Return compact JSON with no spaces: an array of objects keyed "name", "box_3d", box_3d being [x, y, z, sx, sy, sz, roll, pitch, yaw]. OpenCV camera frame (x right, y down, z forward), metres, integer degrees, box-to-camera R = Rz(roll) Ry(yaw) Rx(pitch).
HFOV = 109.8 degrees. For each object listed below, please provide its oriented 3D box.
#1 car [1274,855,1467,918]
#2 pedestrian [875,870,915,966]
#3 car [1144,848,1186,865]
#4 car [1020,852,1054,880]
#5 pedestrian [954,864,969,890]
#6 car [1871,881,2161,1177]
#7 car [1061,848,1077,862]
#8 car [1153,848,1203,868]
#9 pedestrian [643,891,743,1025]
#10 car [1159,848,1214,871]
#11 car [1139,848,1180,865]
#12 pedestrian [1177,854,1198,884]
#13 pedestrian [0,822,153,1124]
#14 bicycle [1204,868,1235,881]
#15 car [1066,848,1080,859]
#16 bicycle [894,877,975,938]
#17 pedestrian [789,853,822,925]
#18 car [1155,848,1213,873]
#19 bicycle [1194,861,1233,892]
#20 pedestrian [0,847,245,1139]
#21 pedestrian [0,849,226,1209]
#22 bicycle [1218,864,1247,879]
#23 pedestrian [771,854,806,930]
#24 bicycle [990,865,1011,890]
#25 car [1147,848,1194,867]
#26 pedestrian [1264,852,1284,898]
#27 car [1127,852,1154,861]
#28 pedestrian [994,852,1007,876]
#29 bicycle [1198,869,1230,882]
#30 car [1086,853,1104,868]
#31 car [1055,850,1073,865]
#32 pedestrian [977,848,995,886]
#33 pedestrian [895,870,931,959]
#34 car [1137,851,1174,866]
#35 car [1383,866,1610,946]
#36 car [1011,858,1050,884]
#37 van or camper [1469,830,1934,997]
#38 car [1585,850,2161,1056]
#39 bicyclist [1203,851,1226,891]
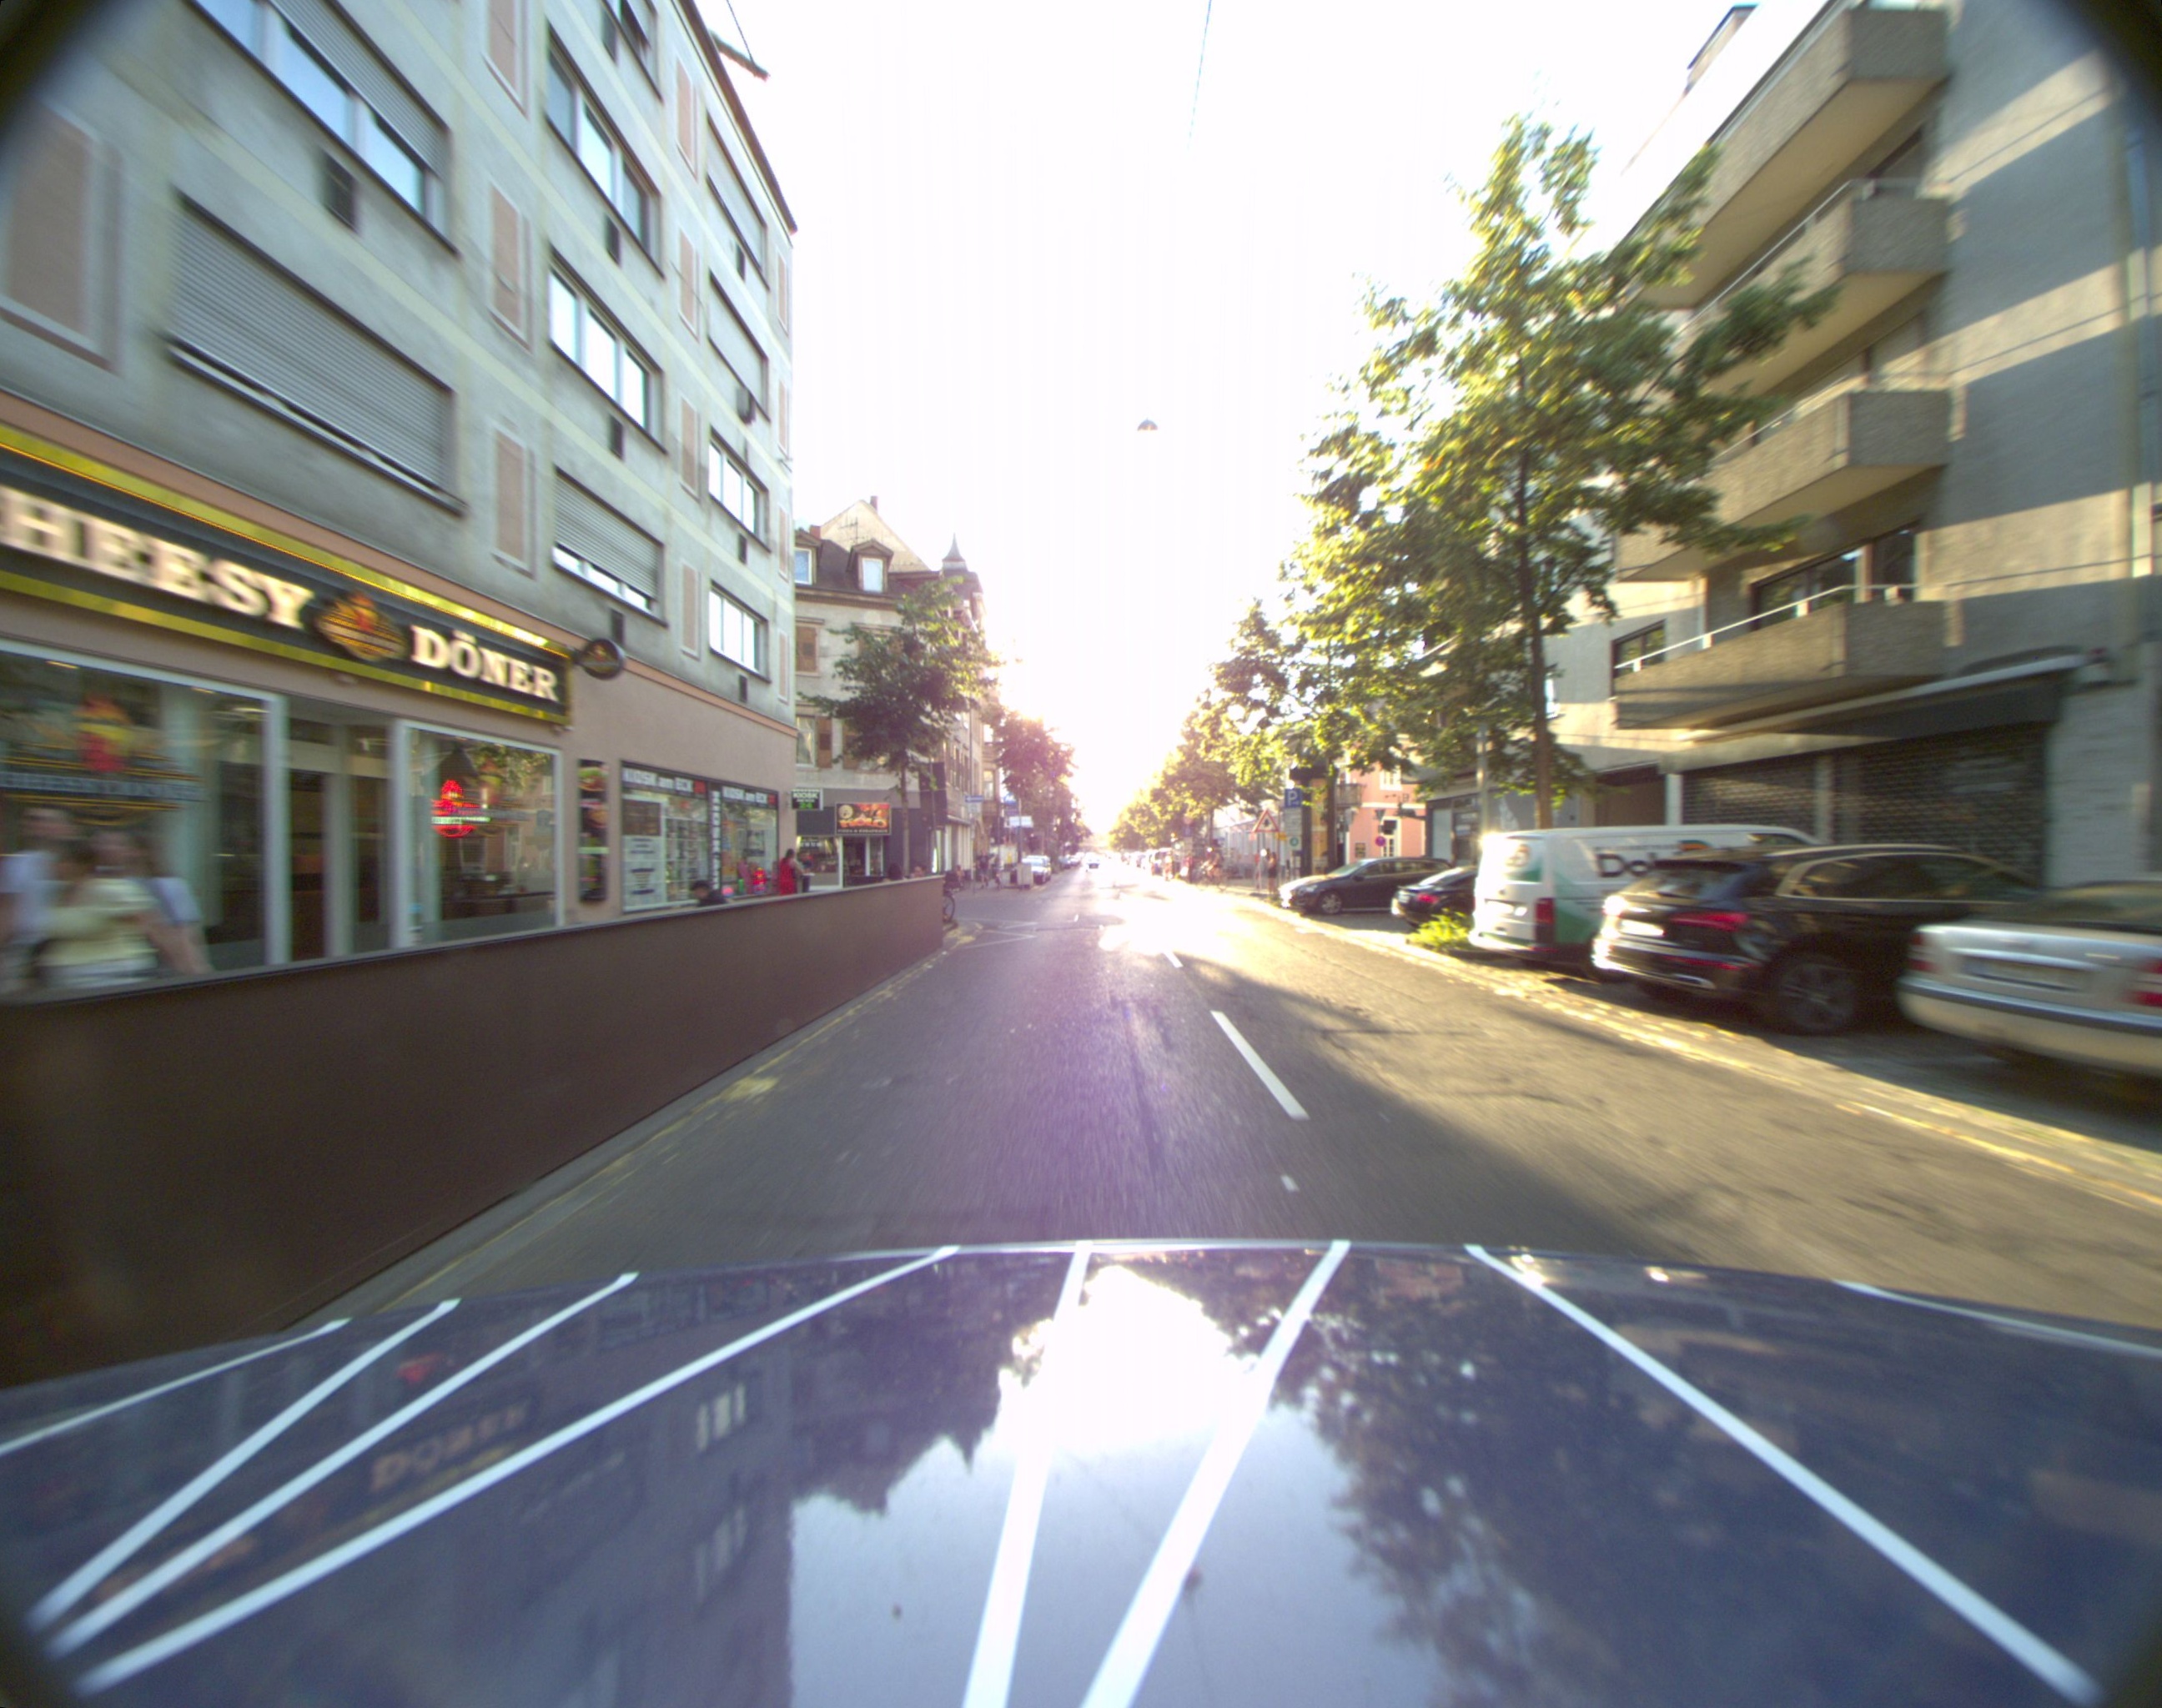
[{"name":"car","box_3d":[7.610,0.835,20.249,4.439,1.516,1.814,-1,0,0]},{"name":"pedestrian","box_3d":[-2.949,0.994,12.053,0.448,1.472,0.547,1,1,2]},{"name":"car","box_3d":[9.267,0.282,83.914,4.439,1.832,1.814,-1,1,0]},{"name":"car","box_3d":[-2.755,0.752,48.502,1.825,1.658,4.155,-1,1,2]},{"name":"pedestrian","box_3d":[-5.512,1.059,34.964,0.551,1.128,0.648,1,1,2]},{"name":"car","box_3d":[7.808,0.925,4.611,4.193,1.434,1.732,-1,1,1]},{"name":"car","box_3d":[-1.455,0.068,95.179,1.825,1.658,4.155,-1,1,2]},{"name":"car","box_3d":[9.044,0.375,71.287,4.439,1.832,1.814,-1,1,0]},{"name":"pedestrian","box_3d":[-4.069,1.068,8.012,0.687,1.298,0.648,2,1,2]},{"name":"car","box_3d":[8.925,0.465,64.557,4.439,1.832,1.814,-1,1,0]},{"name":"car","box_3d":[8.850,0.291,86.308,4.439,1.832,1.814,-1,1,0]},{"name":"pedestrian","box_3d":[5.988,0.812,42.681,0.898,1.671,0.795,-1,1,-36]},{"name":"pedestrian","box_3d":[-6.439,0.681,4.672,0.607,1.729,0.668,0,1,1]},{"name":"bicycle","box_3d":[8.268,1.217,45.370,1.796,0.761,0.408,0,1,13]},{"name":"car","box_3d":[-1.169,-0.093,113.390,1.825,1.658,4.155,-1,1,2]},{"name":"bicycle","box_3d":[-3.223,1.134,16.579,2.055,1.208,0.479,0,1,38]},{"name":"pedestrian","box_3d":[-6.296,0.796,17.392,0.493,1.615,0.573,1,1,2]},{"name":"car","box_3d":[8.290,0.519,61.406,4.439,1.832,1.814,-1,1,0]},{"name":"bicycle","box_3d":[5.974,1.000,34.200,1.832,1.335,0.405,-1,1,-24]},{"name":"pedestrian","box_3d":[-5.711,0.774,4.559,0.607,1.622,0.668,0,1,1]},{"name":"pedestrian","box_3d":[-5.209,0.790,3.849,0.748,1.622,0.855,0,1,1]},{"name":"bicycle","box_3d":[9.385,1.064,46.966,1.801,0.858,0.444,-1,1,-23]},{"name":"pedestrian","box_3d":[-6.332,0.807,16.487,0.493,1.615,0.573,1,1,2]},{"name":"bicycle","box_3d":[-3.788,1.076,35.890,0.478,1.101,2.062,0,0,8]},{"name":"car","box_3d":[8.929,0.359,76.037,4.439,1.832,1.814,-1,1,0]},{"name":"pedestrian","box_3d":[6.940,0.754,27.316,0.550,1.638,0.721,0,1,4]},{"name":"car","box_3d":[9.342,0.402,120.338,4.151,1.469,1.827,0,0,1]},{"name":"pedestrian","box_3d":[-5.363,0.674,50.668,0.719,1.565,0.756,1,1,2]},{"name":"bicycle","box_3d":[7.737,1.250,44.168,1.796,0.761,0.408,0,1,13]},{"name":"car","box_3d":[1.451,0.660,77.081,1.825,1.469,4.155,-1,1,2]},{"name":"car","box_3d":[-1.970,0.383,88.391,1.825,1.658,4.155,-1,1,2]},{"name":"pedestrian","box_3d":[-4.700,0.626,37.520,0.719,1.864,0.756,1,1,2]},{"name":"pedestrian","box_3d":[-2.865,1.015,12.966,0.448,1.472,0.563,2,1,2]},{"name":"car","box_3d":[8.832,0.557,90.085,4.151,1.771,1.827,0,1,1]},{"name":"car","box_3d":[7.956,0.976,14.782,3.582,1.405,1.512,0,1,3]},{"name":"car","box_3d":[-2.813,0.916,43.080,1.825,1.344,4.155,-1,1,2]},{"name":"van or camper","box_3d":[7.710,0.705,9.816,4.469,1.945,1.789,0,1,2]},{"name":"car","box_3d":[7.416,0.817,7.116,4.192,1.659,1.732,0,1,3]},{"name":"bicyclist","box_3d":[6.011,0.753,34.184,0.873,1.783,0.536,-1,1,-24]}]
